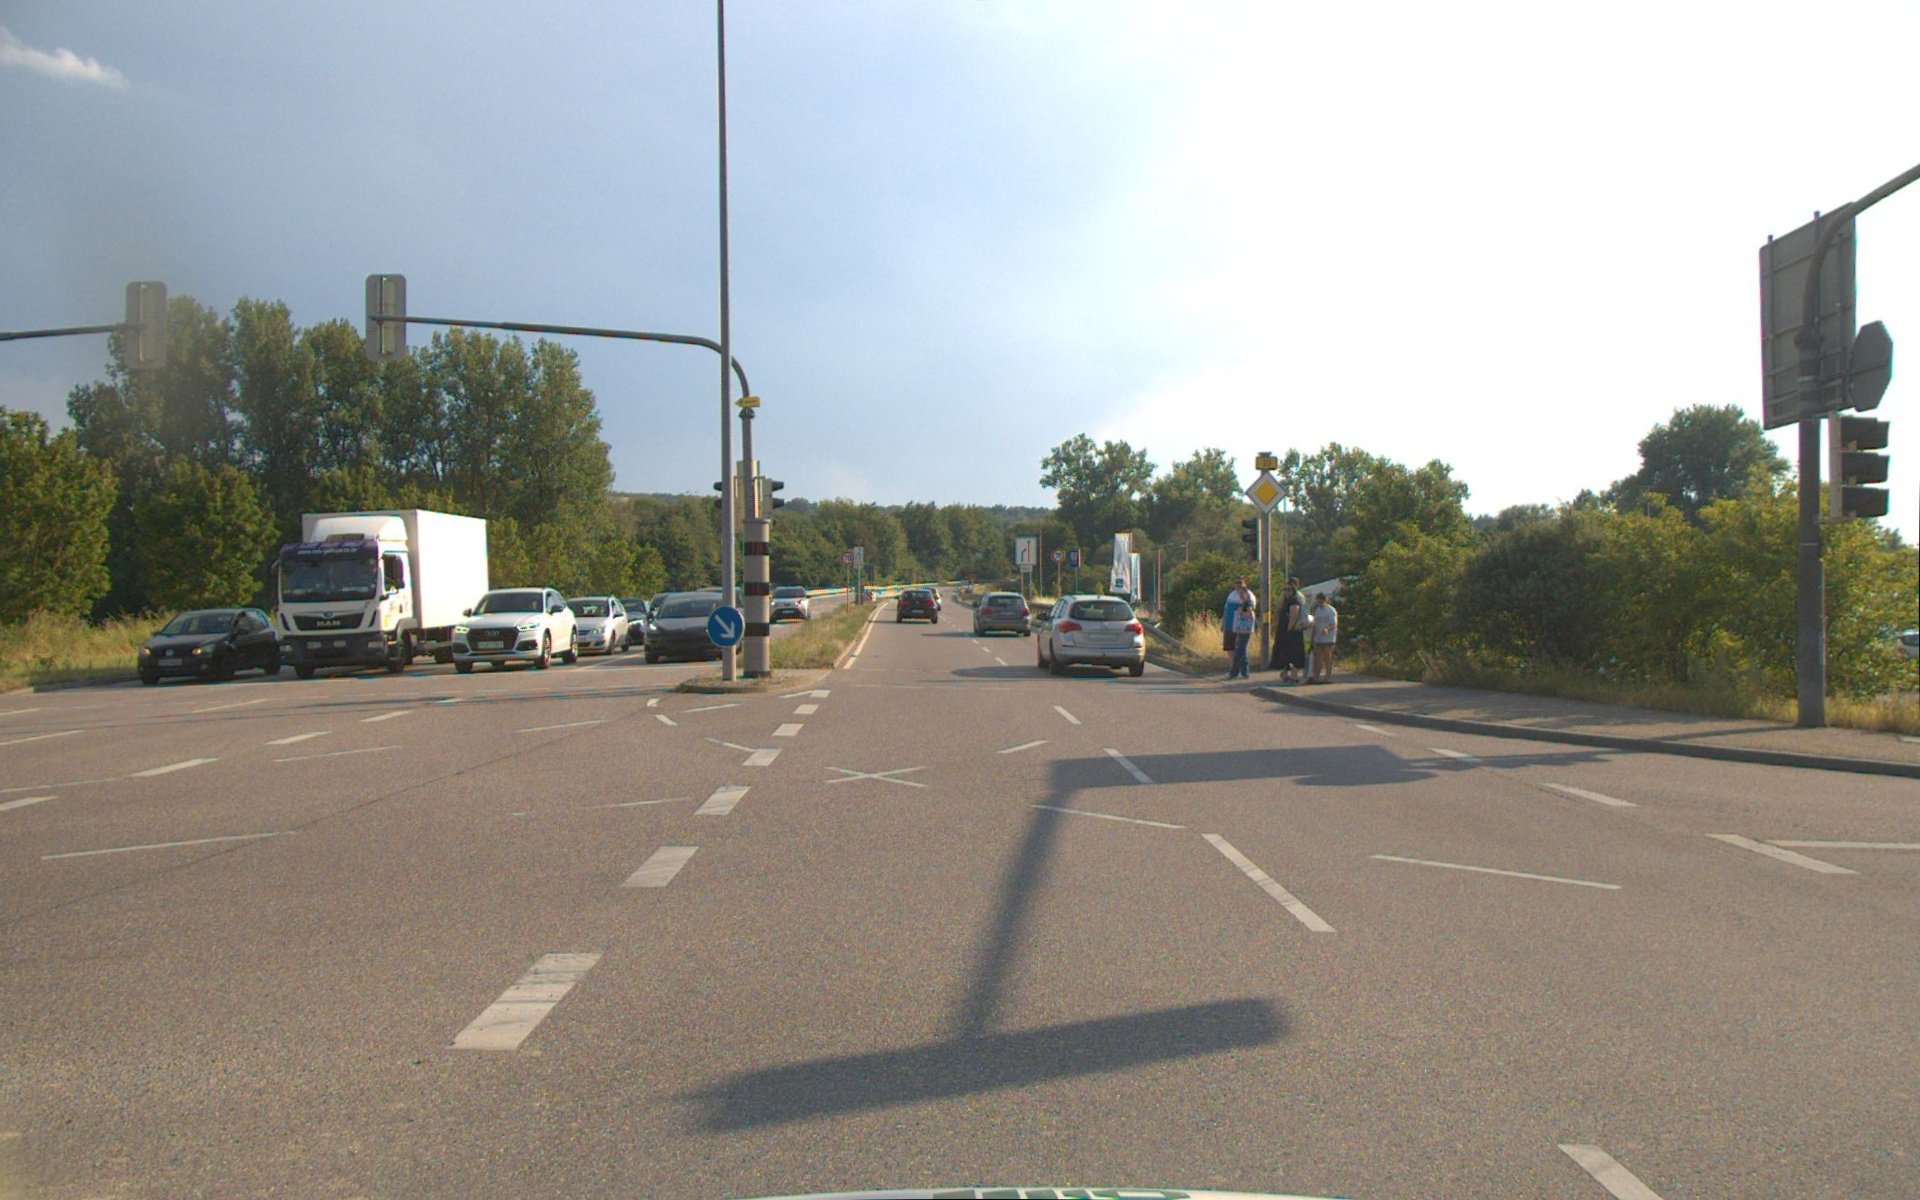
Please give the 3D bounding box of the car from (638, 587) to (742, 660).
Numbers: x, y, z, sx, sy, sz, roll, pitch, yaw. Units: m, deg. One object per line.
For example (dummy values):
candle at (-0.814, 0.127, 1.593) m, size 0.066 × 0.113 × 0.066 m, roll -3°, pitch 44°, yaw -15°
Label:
car at (-5.927, 0.499, 36.781) m, size 1.754 × 1.492 × 4.926 m, roll -1°, pitch 0°, yaw -3°

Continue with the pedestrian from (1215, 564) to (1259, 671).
pedestrian at (5.084, 0.316, 30.385) m, size 0.606 × 1.916 × 0.861 m, roll -1°, pitch -1°, yaw -3°

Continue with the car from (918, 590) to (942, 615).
car at (-1.853, 0.161, 103.396) m, size 1.462 × 1.502 × 3.358 m, roll 1°, pitch -1°, yaw 0°

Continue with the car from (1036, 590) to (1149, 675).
car at (2.509, 0.613, 32.185) m, size 1.772 × 1.512 × 3.999 m, roll 1°, pitch -1°, yaw -1°

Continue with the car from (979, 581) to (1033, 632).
car at (1.491, 0.228, 55.194) m, size 1.633 × 1.601 × 3.999 m, roll 2°, pitch -1°, yaw 0°

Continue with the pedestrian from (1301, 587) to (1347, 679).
pedestrian at (5.986, 0.542, 27.234) m, size 0.561 × 1.482 × 0.622 m, roll 1°, pitch -1°, yaw -6°

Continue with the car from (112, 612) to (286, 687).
car at (-15.811, 0.995, 34.576) m, size 1.777 × 1.400 × 3.999 m, roll -2°, pitch -1°, yaw -1°

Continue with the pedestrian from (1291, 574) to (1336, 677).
pedestrian at (5.974, 0.430, 27.944) m, size 0.561 × 1.707 × 0.622 m, roll 1°, pitch -1°, yaw -6°

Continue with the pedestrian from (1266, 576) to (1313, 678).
pedestrian at (5.389, 0.439, 27.084) m, size 0.561 × 1.643 × 0.622 m, roll -2°, pitch -1°, yaw -6°

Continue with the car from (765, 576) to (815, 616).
car at (-6.984, -0.134, 68.186) m, size 1.744 × 1.546 × 3.998 m, roll -2°, pitch 0°, yaw -2°

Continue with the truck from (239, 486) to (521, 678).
truck at (-13.118, -0.309, 38.669) m, size 2.873 × 3.755 × 10.497 m, roll -2°, pitch -1°, yaw -1°

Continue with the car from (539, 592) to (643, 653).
car at (-9.332, 0.568, 42.195) m, size 1.668 × 1.430 × 5.079 m, roll -1°, pitch 0°, yaw -2°

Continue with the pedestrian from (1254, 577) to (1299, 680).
pedestrian at (5.324, 0.483, 27.846) m, size 0.561 × 1.707 × 0.622 m, roll 1°, pitch -1°, yaw -6°

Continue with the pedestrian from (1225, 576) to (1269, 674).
pedestrian at (5.133, 0.441, 29.635) m, size 0.583 × 1.712 × 0.633 m, roll -2°, pitch -1°, yaw -2°

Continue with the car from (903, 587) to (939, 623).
car at (-1.644, 0.222, 70.709) m, size 1.462 × 1.502 × 3.358 m, roll 1°, pitch -1°, yaw 0°

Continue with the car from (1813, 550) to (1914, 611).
car at (40.735, -0.849, 74.705) m, size 1.719 × 2.594 × 5.470 m, roll 1°, pitch -1°, yaw 2°

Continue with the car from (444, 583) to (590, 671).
car at (-9.312, 0.555, 35.170) m, size 1.953 × 1.707 × 4.804 m, roll -1°, pitch 0°, yaw -2°

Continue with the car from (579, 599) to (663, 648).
car at (-10.064, 0.654, 49.420) m, size 1.668 × 1.306 × 4.816 m, roll -2°, pitch 1°, yaw -2°
